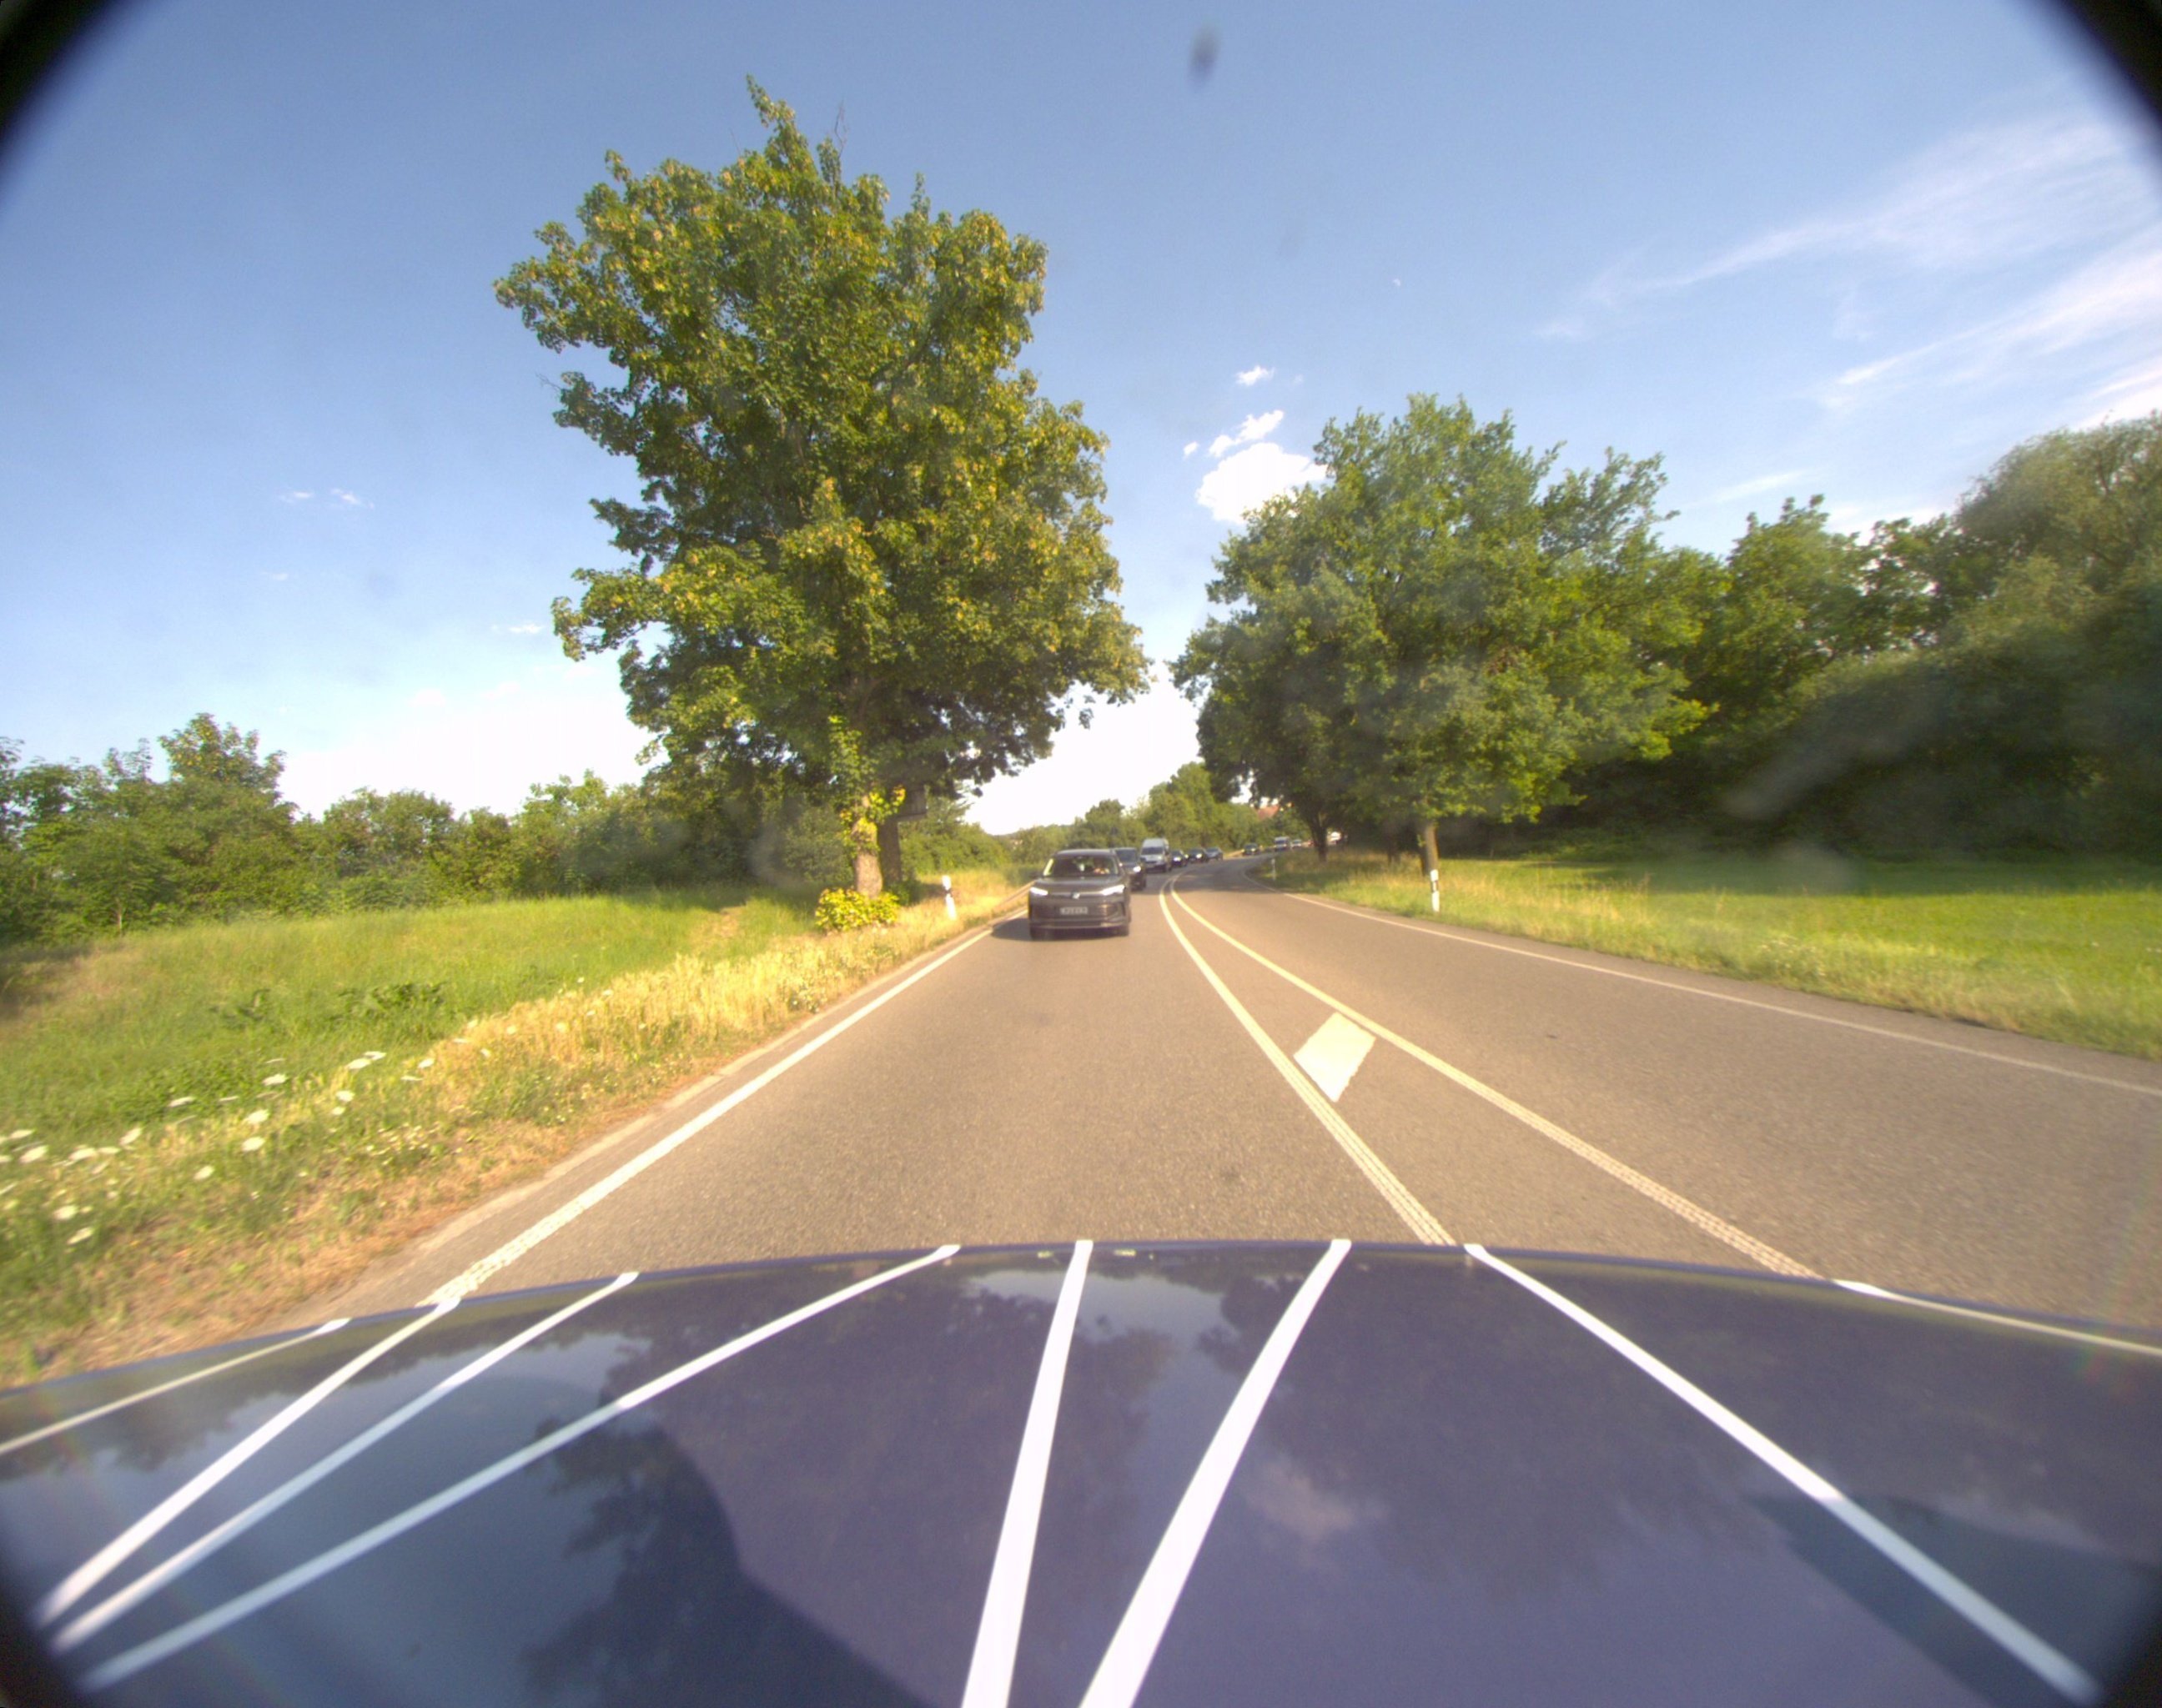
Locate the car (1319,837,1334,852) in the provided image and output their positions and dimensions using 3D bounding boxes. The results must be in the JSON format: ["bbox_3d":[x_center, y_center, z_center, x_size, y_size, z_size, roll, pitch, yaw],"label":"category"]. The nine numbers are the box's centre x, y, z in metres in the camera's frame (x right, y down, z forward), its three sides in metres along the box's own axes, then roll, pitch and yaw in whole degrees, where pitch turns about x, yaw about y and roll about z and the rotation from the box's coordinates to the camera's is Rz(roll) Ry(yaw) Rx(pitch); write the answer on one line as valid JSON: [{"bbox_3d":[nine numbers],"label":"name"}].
[{"bbox_3d":[43.192,-1.746,133.800,2.085,2.403,5.148,-2,1,21],"label":"car"}]

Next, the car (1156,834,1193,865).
[{"bbox_3d":[7.745,-0.404,62.592,2.086,2.403,5.147,-2,1,16],"label":"car"}]

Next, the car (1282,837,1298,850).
[{"bbox_3d":[43.259,-2.164,157.451,2.085,2.403,5.150,-2,1,28],"label":"car"}]

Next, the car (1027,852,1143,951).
[{"bbox_3d":[0.176,0.802,15.353,1.922,1.612,4.702,-3,0,3],"label":"car"}]

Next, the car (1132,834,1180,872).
[{"bbox_3d":[5.236,-0.145,52.320,2.085,2.403,5.148,-2,1,19],"label":"car"}]

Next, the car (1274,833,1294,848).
[{"bbox_3d":[35.438,-2.405,132.503,2.085,2.403,5.150,-2,1,28],"label":"car"}]

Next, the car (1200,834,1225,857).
[{"bbox_3d":[14.769,-1.024,84.977,2.086,2.403,5.147,-2,1,16],"label":"car"}]

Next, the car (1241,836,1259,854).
[{"bbox_3d":[23.599,-1.297,105.827,2.086,2.403,5.147,-2,1,16],"label":"car"}]

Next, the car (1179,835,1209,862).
[{"bbox_3d":[11.040,-0.587,73.832,2.086,2.403,5.147,-2,1,16],"label":"car"}]

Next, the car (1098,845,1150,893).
[{"bbox_3d":[1.752,0.558,31.230,1.922,1.718,4.702,-3,0,3],"label":"car"}]

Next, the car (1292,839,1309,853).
[{"bbox_3d":[42.486,-1.531,146.989,2.085,2.403,5.150,-2,1,28],"label":"car"}]
